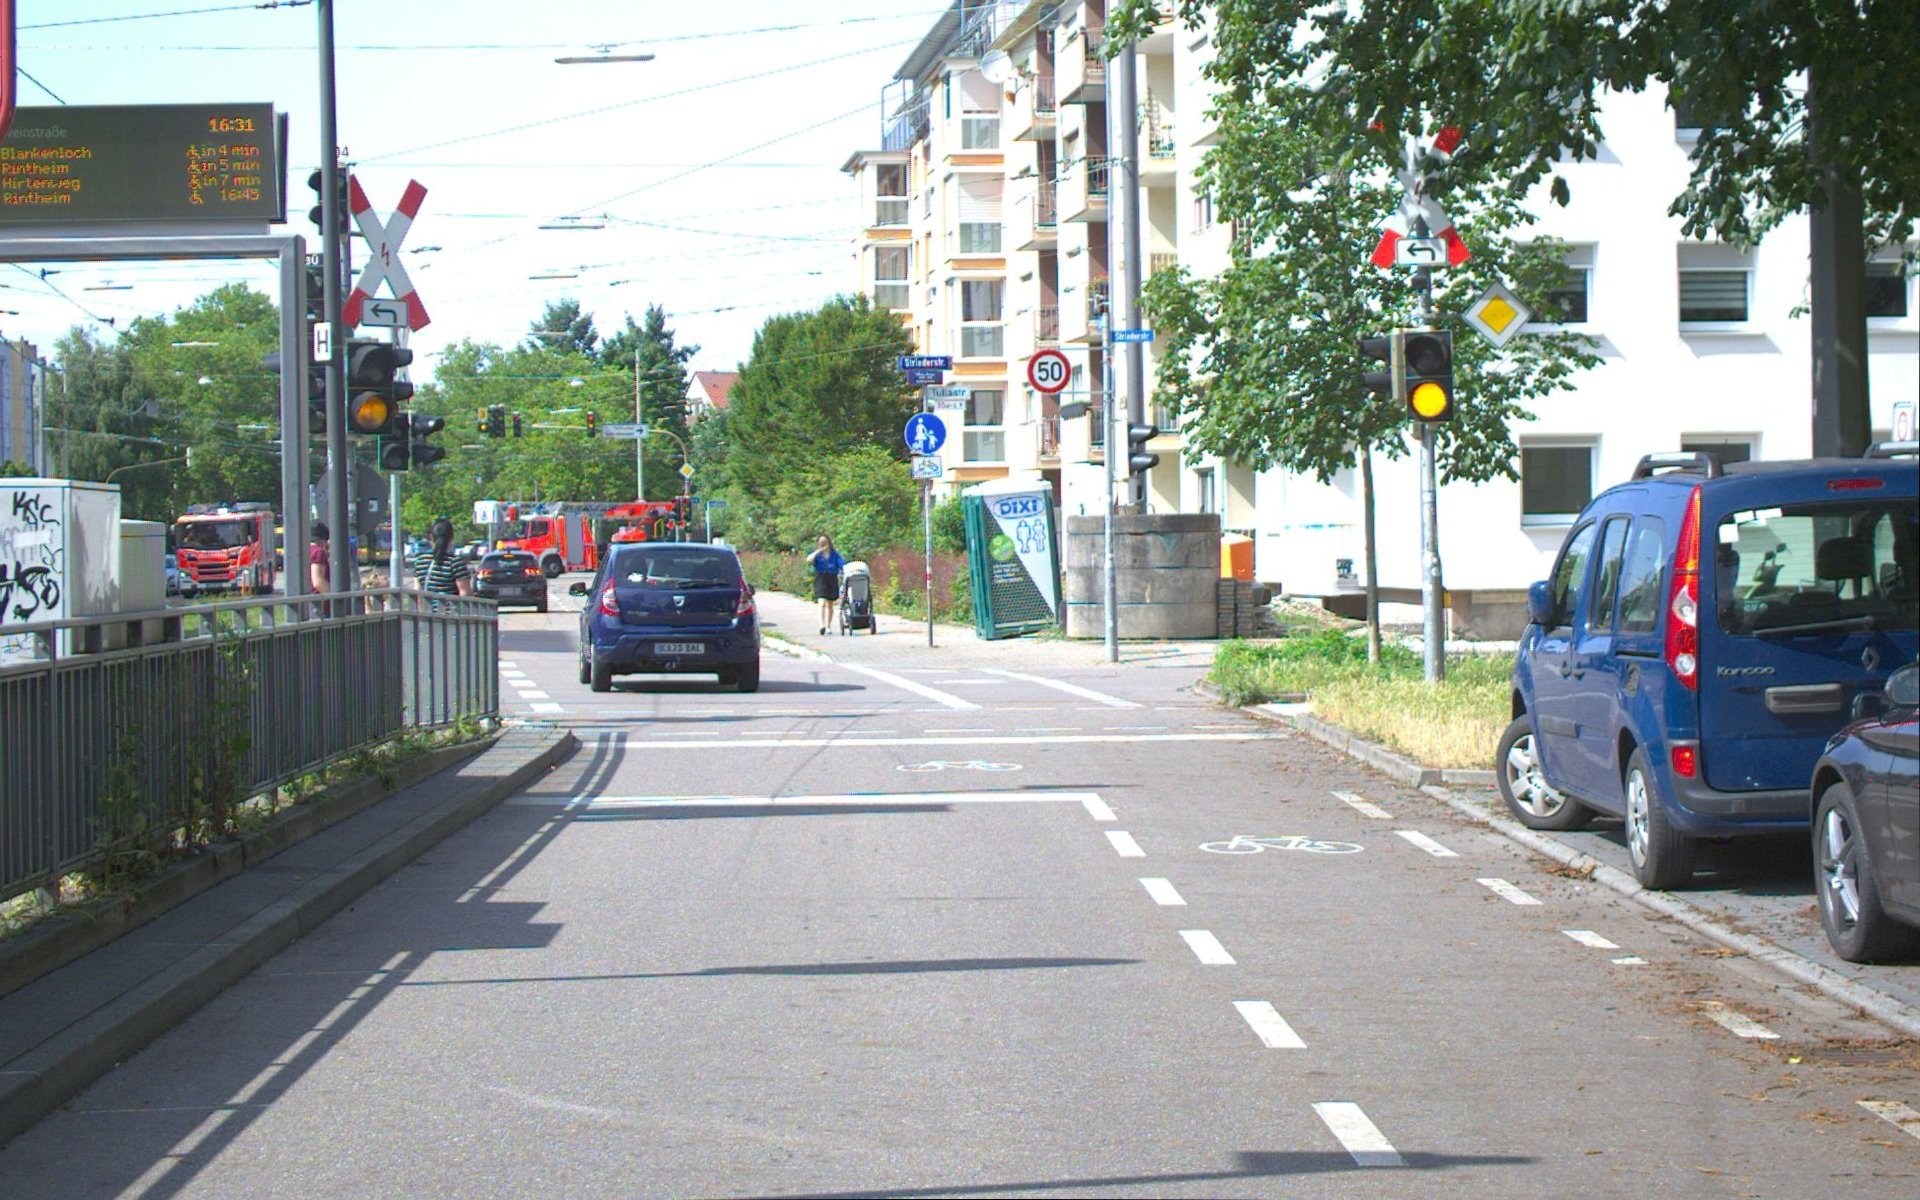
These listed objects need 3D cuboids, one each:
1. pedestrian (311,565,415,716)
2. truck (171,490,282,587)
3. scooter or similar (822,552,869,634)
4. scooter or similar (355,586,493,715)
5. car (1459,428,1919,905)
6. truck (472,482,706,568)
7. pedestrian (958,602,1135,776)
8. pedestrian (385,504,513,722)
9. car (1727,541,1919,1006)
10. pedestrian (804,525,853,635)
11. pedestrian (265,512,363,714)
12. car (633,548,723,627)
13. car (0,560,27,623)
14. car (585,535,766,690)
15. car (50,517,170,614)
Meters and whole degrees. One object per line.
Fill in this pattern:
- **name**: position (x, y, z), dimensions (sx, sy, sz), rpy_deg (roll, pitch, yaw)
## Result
- **pedestrian**: position (-4.779, 0.314, 27.498), dimensions (0.636, 1.176, 0.799), rpy_deg (-1, 0, -22)
- **truck**: position (-25.408, -2.105, 119.372), dimensions (2.596, 3.175, 8.384), rpy_deg (-1, 1, -4)
- **scooter or similar**: position (-1.886, -0.122, 56.709), dimensions (0.662, 1.299, 0.868), rpy_deg (-4, 1, -1)
- **scooter or similar**: position (-4.467, 0.419, 28.693), dimensions (1.100, 1.052, 0.651), rpy_deg (1, 0, -6)
- **car**: position (3.576, 0.201, 16.035), dimensions (1.823, 1.889, 4.184), rpy_deg (-2, 2, 0)
- **truck**: position (-15.877, -3.175, 147.775), dimensions (10.137, 3.459, 2.675), rpy_deg (0, 0, -39)
- **pedestrian**: position (1.027, 1.055, 42.852), dimensions (1.993, 2.007, 4.000), rpy_deg (1, 0, -1)
- **pedestrian**: position (-4.010, 0.094, 26.951), dimensions (0.845, 1.662, 0.799), rpy_deg (-1, 0, -17)
- **car**: position (4.015, 0.540, 10.689), dimensions (1.917, 1.437, 4.797), rpy_deg (-3, 2, -3)
- **pedestrian**: position (-2.201, -0.350, 57.582), dimensions (0.701, 1.783, 1.030), rpy_deg (-4, 1, -2)
- **pedestrian**: position (-5.366, 0.105, 28.595), dimensions (0.705, 1.642, 0.637), rpy_deg (1, 0, -5)
- **car**: position (-5.421, -0.247, 65.814), dimensions (1.622, 1.460, 3.511), rpy_deg (1, 0, -6)
- **car**: position (-23.216, -0.225, 81.089), dimensions (1.768, 1.437, 4.001), rpy_deg (1, 0, -7)
- **car**: position (-2.948, 0.104, 35.777), dimensions (1.743, 1.502, 4.001), rpy_deg (1, 0, -4)
- **car**: position (-20.542, -0.857, 83.242), dimensions (1.993, 2.267, 4.834), rpy_deg (1, 1, -4)
